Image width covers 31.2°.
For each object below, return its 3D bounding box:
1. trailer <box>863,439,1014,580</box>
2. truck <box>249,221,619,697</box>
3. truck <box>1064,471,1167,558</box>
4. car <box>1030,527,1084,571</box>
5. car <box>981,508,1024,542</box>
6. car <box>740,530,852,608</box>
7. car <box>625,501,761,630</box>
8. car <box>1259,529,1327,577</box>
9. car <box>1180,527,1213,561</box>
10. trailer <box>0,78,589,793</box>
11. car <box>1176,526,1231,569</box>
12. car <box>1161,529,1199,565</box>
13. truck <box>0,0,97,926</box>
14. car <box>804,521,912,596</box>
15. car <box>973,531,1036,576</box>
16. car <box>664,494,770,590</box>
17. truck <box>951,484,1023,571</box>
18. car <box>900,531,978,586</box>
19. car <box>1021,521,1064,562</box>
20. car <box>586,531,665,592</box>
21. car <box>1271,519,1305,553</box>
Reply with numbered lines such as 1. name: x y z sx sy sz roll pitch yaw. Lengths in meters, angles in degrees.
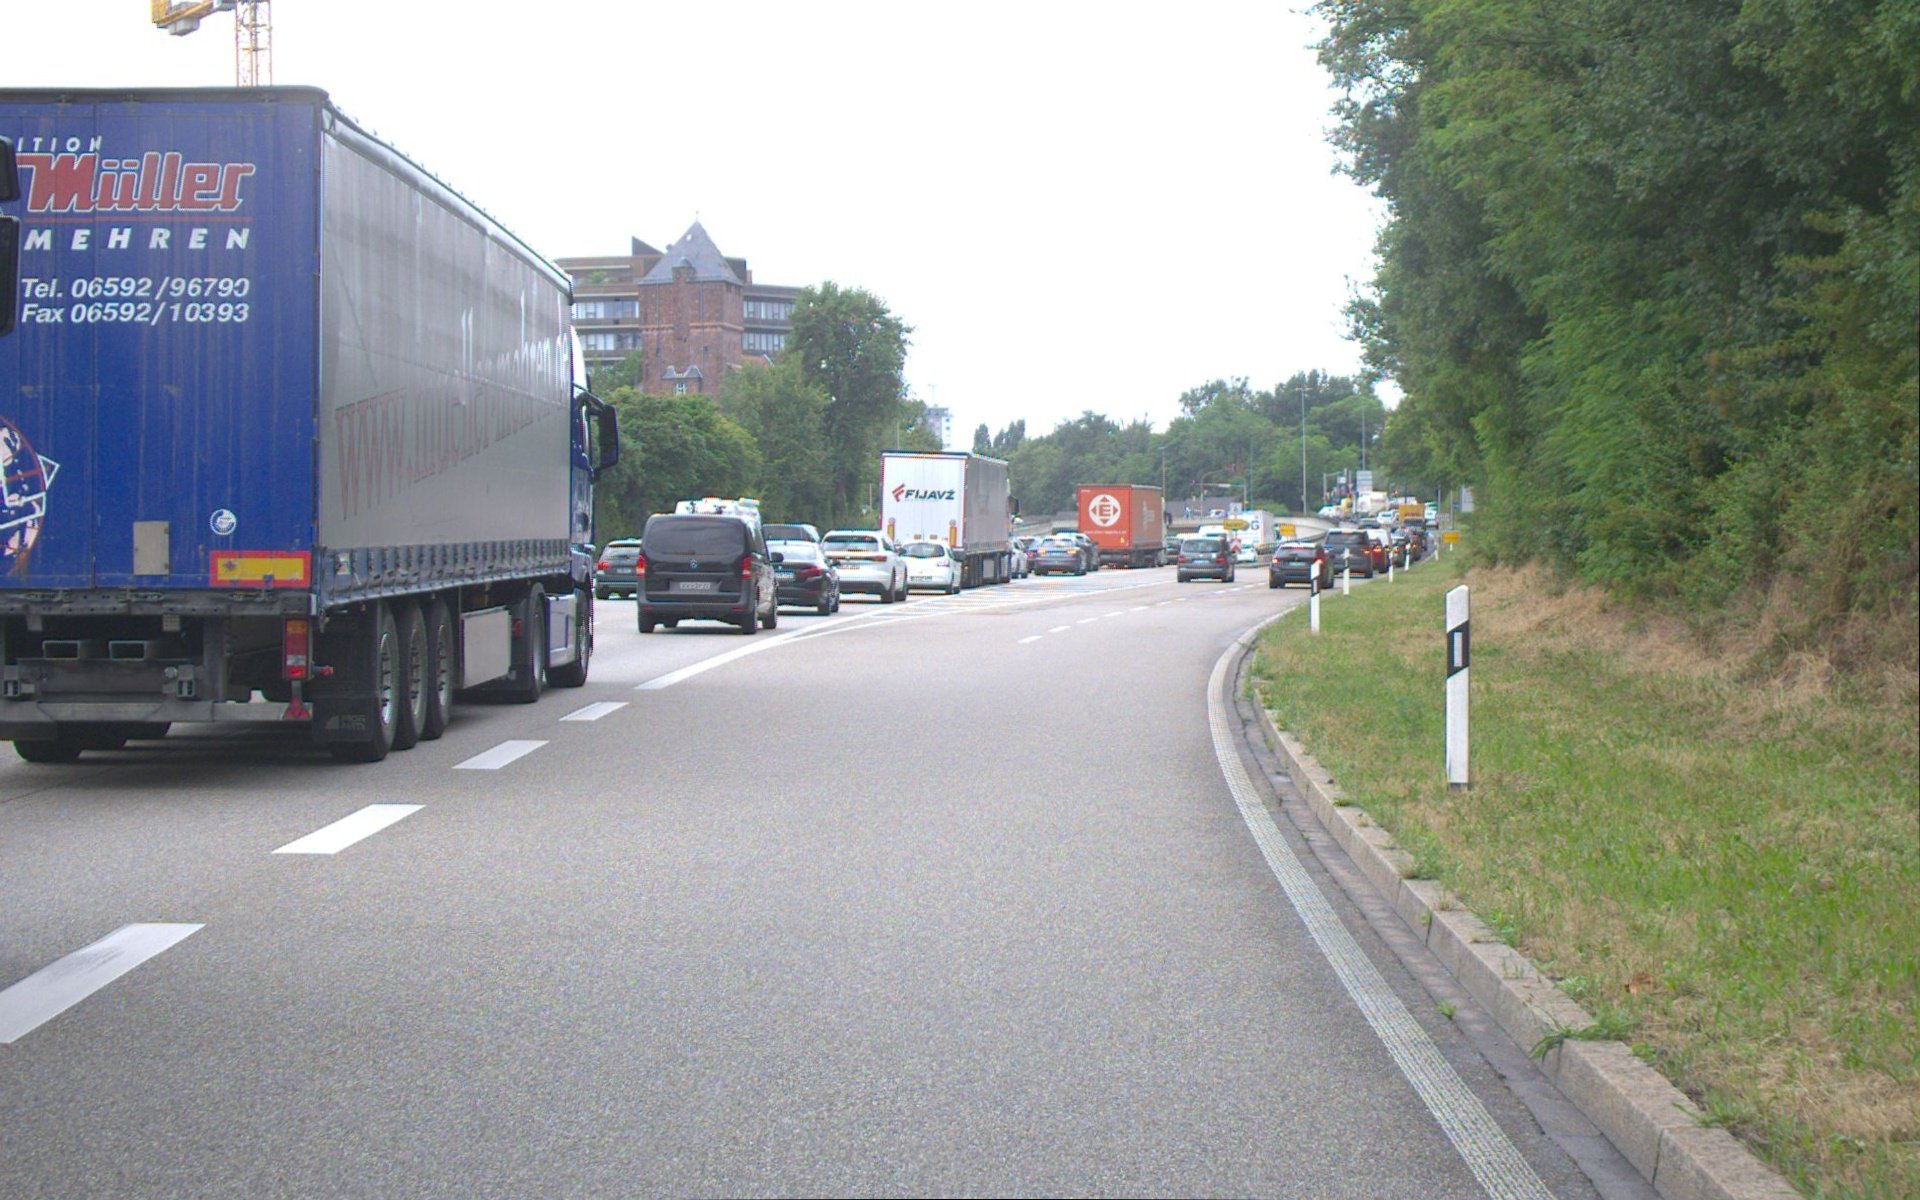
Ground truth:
1. trailer: -0.515 -2.676 105.975 3.299 4.022 13.095 1 1 5
2. truck: -4.840 -1.247 32.788 2.561 4.029 6.590 1 1 -1
3. truck: 7.731 -4.162 168.568 3.491 4.059 13.587 0 1 9
4. car: 3.885 -2.005 136.708 1.718 1.678 3.999 1 1 7
5. car: 2.564 -4.509 206.794 1.994 2.007 3.999 0 1 9
6. car: -3.245 -0.624 68.818 1.847 1.455 4.831 1 1 2
7. car: -4.291 -0.577 55.732 1.987 1.891 4.985 -3 1 -4
8. car: 10.549 -1.500 108.695 1.826 1.477 3.998 0 1 10
9. car: 14.021 -3.327 203.497 1.615 1.941 3.704 1 1 8
10. trailer: -4.931 -1.011 26.174 2.626 4.009 13.464 1 1 0
11. car: 8.531 -1.841 120.125 1.825 1.477 3.999 0 1 5
12. car: 12.326 -2.946 192.347 1.615 1.941 3.703 1 1 11
13. truck: -4.651 -0.660 7.796 2.929 3.783 11.332 -1 1 -2
14. car: -2.396 -0.972 81.799 1.957 1.689 4.865 1 1 5
15. car: 1.651 -1.691 126.333 1.800 1.598 4.256 1 1 7
16. car: -6.601 -1.600 93.954 1.994 2.544 5.361 0 1 6
17. truck: 1.391 -3.558 171.267 2.739 4.124 10.696 1 1 5
18. car: -0.544 -1.138 93.151 1.764 1.473 4.088 0 1 5
19. car: 4.064 -2.873 169.129 1.818 2.007 3.999 0 1 6
20. car: -7.917 -0.904 81.491 1.441 1.382 3.047 1 1 2
21. car: 19.559 -3.801 204.884 1.951 2.007 3.999 0 1 6
